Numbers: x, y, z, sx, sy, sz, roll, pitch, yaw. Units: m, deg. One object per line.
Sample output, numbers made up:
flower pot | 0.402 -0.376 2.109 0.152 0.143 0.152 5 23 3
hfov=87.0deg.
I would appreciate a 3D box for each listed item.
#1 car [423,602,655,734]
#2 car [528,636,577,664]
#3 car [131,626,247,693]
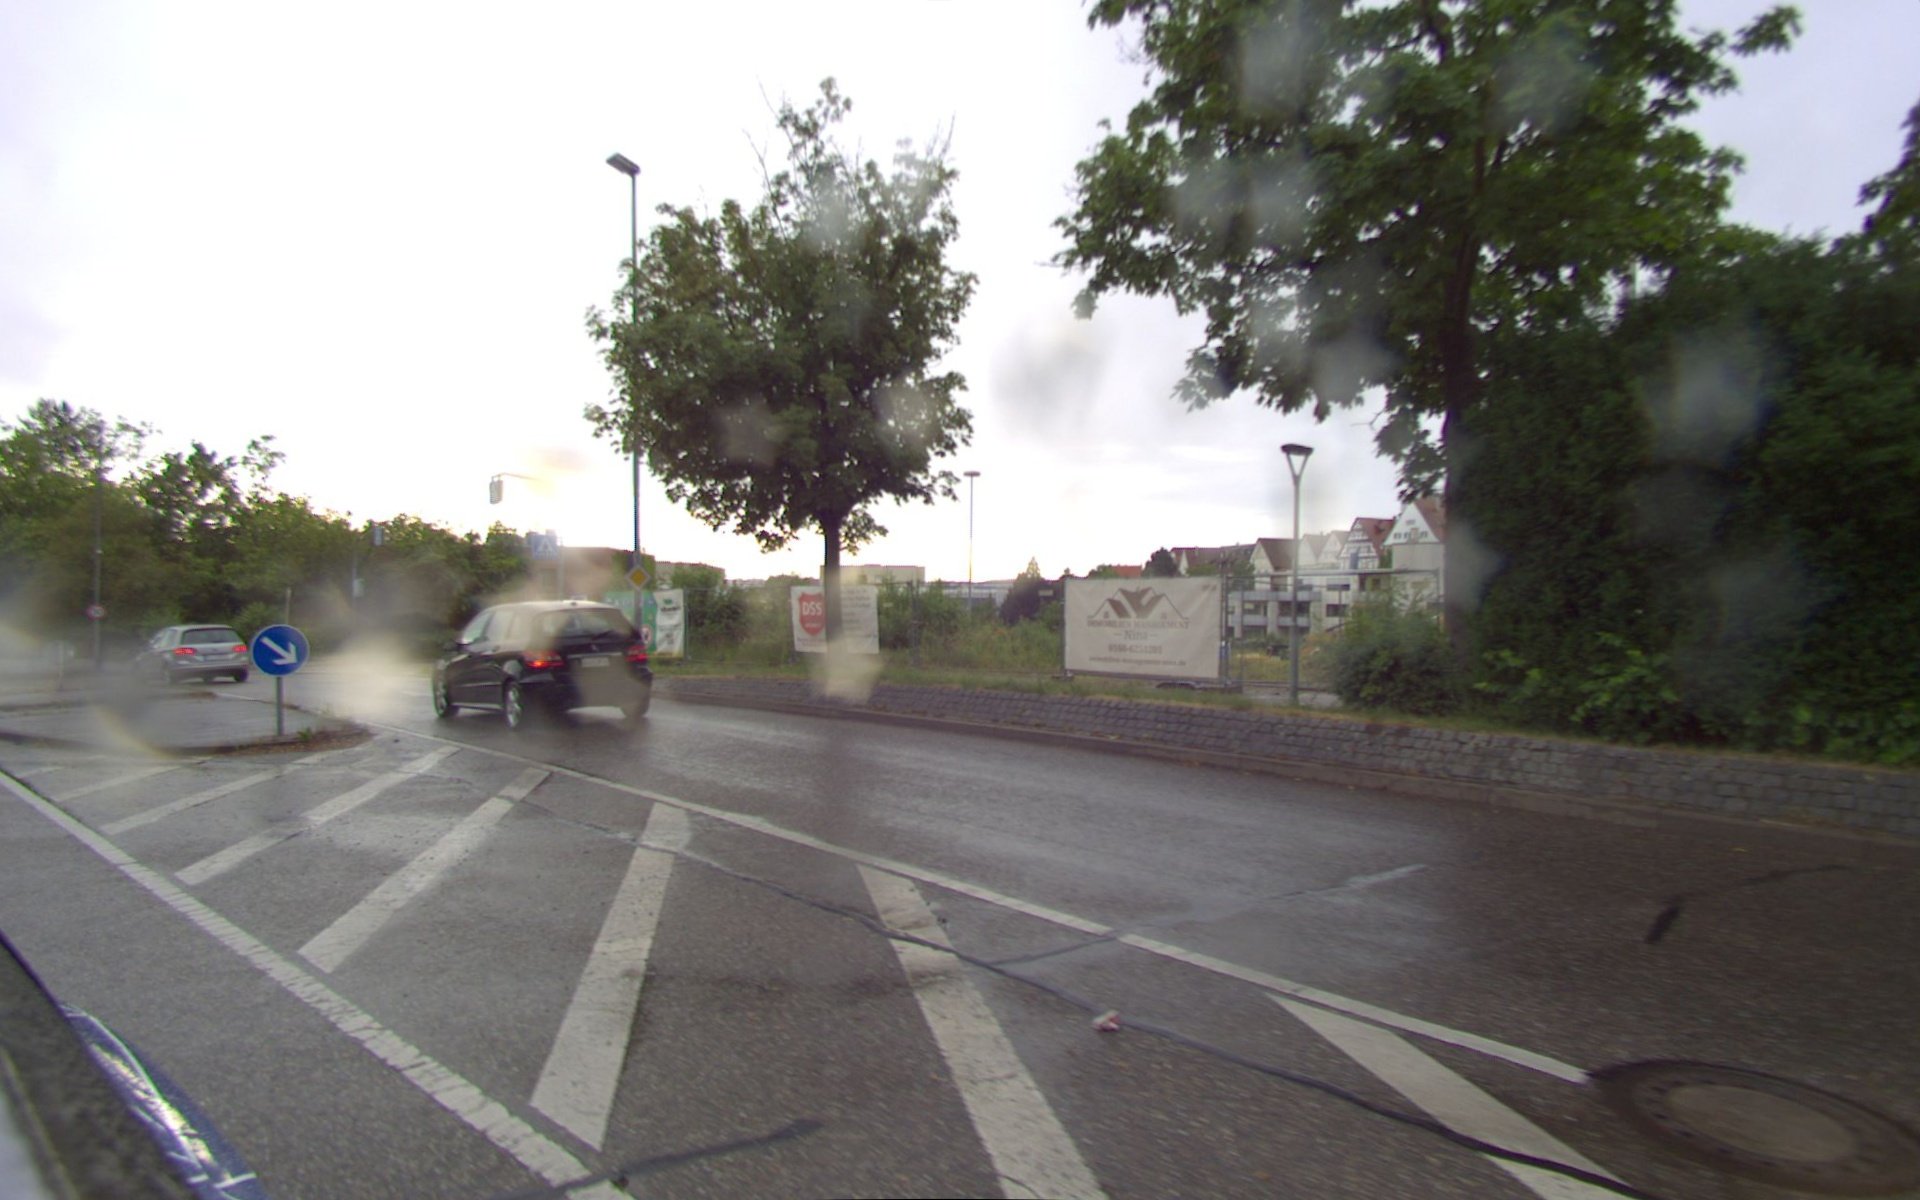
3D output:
car | -5.900 0.835 13.916 1.621 1.532 4.074 0 -1 -43
car | -27.018 3.273 67.252 1.677 1.619 4.296 -2 0 -3
car | -20.888 1.549 27.373 4.152 1.563 1.627 -2 2 41
